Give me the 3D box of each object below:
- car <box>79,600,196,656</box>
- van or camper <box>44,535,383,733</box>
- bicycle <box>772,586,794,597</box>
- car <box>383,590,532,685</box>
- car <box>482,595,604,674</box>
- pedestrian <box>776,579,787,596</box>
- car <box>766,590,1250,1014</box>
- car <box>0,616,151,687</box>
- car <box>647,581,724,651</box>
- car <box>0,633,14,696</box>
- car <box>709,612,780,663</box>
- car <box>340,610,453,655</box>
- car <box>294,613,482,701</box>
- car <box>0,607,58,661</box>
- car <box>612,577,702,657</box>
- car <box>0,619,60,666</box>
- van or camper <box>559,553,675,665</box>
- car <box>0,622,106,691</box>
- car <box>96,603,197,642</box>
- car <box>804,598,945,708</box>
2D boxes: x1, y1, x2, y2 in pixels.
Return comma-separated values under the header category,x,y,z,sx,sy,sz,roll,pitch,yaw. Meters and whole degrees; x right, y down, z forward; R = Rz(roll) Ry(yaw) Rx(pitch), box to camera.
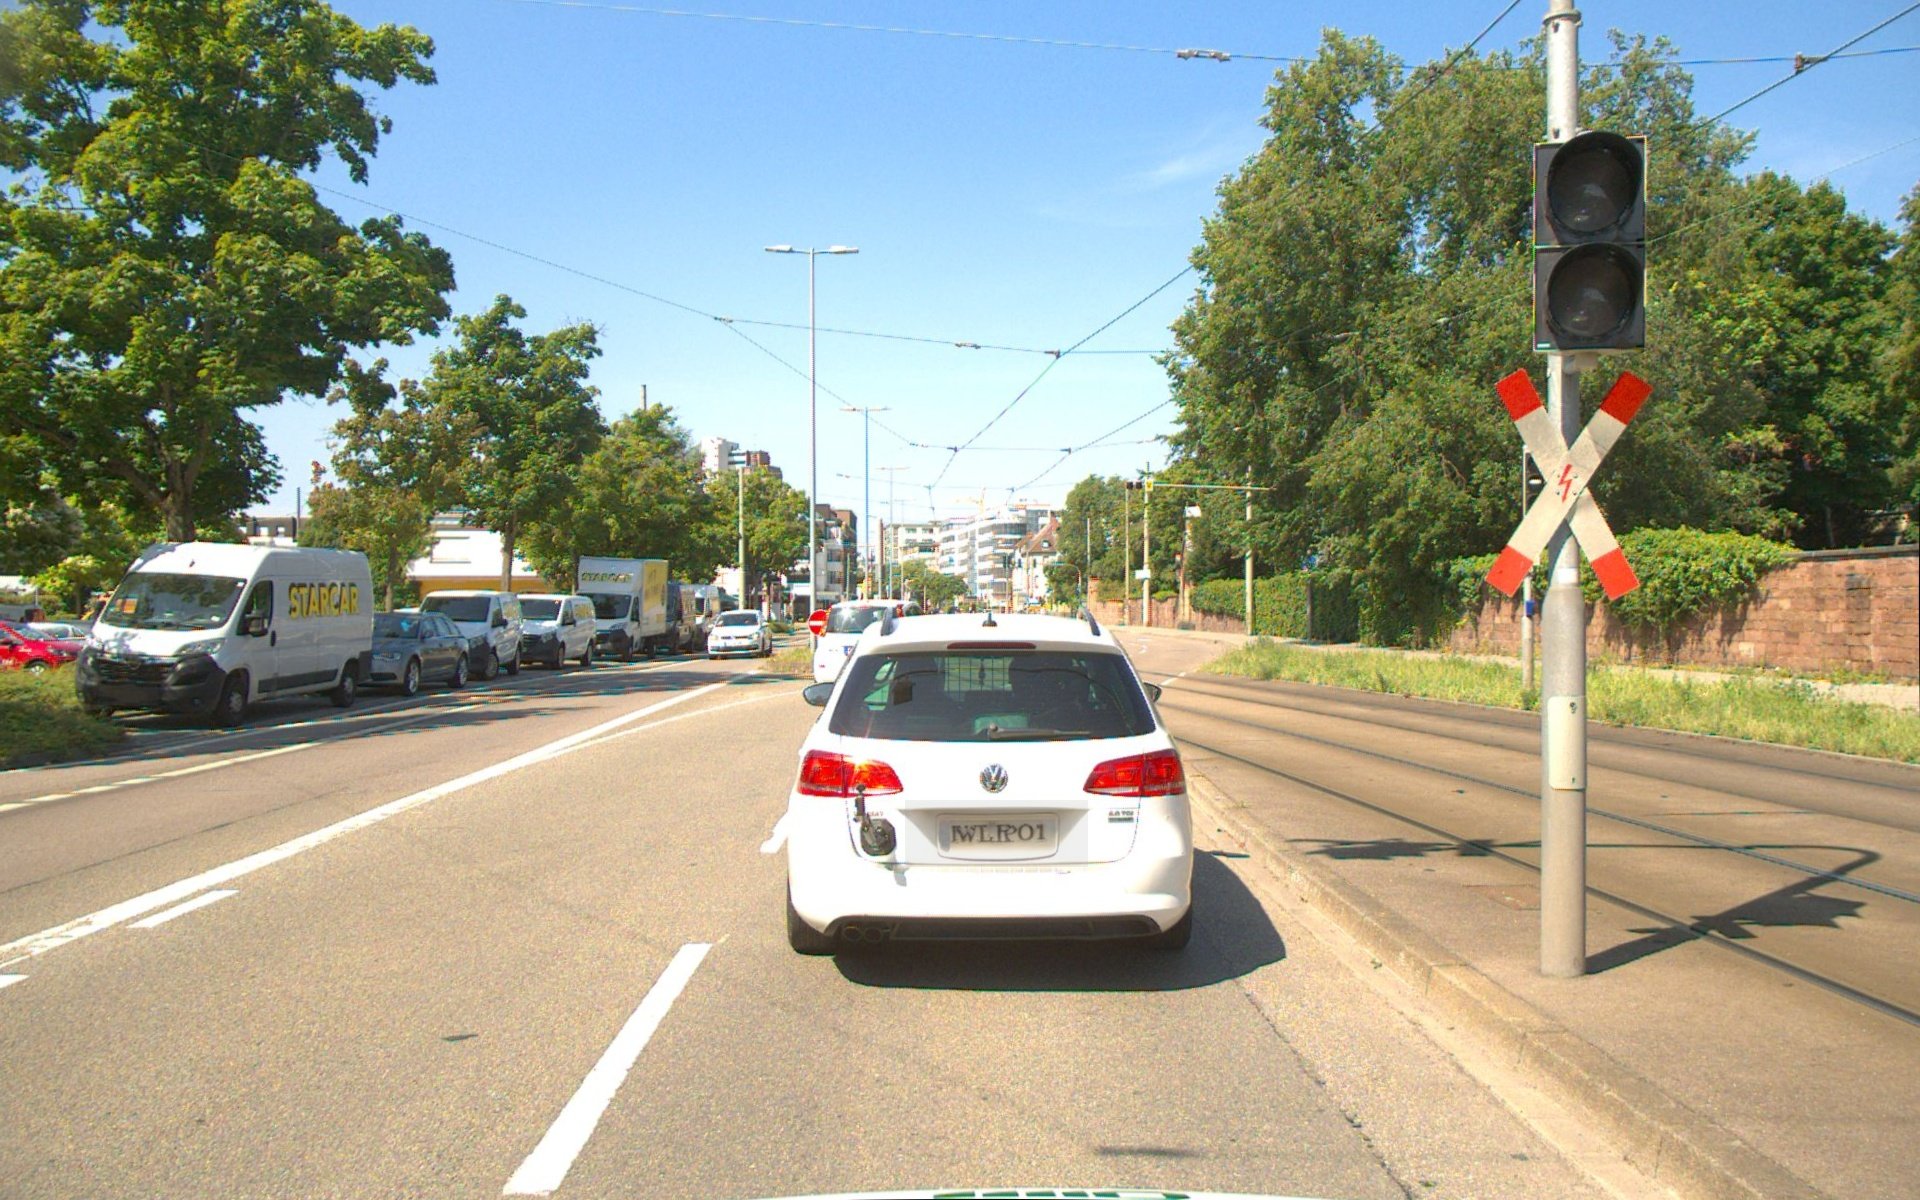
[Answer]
category,x,y,z,sx,sy,sz,roll,pitch,yaw
car,-34.190,1.141,68.848,3.909,2.238,1.909,-1,0,-5
van or camper,-10.833,0.460,24.702,2.211,2.559,6.147,-1,0,0
bicycle,-15.831,-0.762,148.239,0.543,0.937,2.164,-1,0,42
car,-11.224,0.798,37.313,2.153,1.975,5.179,-1,0,-5
car,-11.060,0.876,44.259,2.152,1.975,5.182,-1,0,-3
pedestrian,-16.070,-1.136,148.800,0.556,1.513,0.811,-1,-1,42
car,0.170,0.747,7.980,1.742,1.516,3.846,1,0,0
car,-21.351,1.206,38.781,3.906,1.571,1.663,-1,-1,-2
car,-11.102,0.633,67.273,2.151,2.677,5.978,1,0,-1
car,-21.575,1.354,33.509,3.836,1.293,1.663,-1,-1,-2
car,-6.603,1.135,50.950,1.692,1.491,3.999,0,0,-1
car,-22.362,1.278,65.736,3.907,1.724,1.662,-1,-1,-3
car,-10.577,1.003,30.996,1.893,1.480,4.884,-1,0,-1
car,-37.213,1.303,63.679,3.909,2.038,1.909,-1,0,-5
car,-11.004,0.605,60.559,2.151,2.715,6.078,1,0,-1
car,-34.113,1.502,58.151,3.909,1.571,1.784,-1,0,-5
van or camper,-10.803,0.283,52.635,2.151,3.298,6.772,1,0,0
car,-21.122,1.238,36.225,3.906,1.434,1.732,-1,0,-2
car,-47.468,1.313,96.551,4.831,2.212,2.098,-1,-1,-4
car,-1.317,0.804,26.970,1.694,1.624,4.013,1,0,6
